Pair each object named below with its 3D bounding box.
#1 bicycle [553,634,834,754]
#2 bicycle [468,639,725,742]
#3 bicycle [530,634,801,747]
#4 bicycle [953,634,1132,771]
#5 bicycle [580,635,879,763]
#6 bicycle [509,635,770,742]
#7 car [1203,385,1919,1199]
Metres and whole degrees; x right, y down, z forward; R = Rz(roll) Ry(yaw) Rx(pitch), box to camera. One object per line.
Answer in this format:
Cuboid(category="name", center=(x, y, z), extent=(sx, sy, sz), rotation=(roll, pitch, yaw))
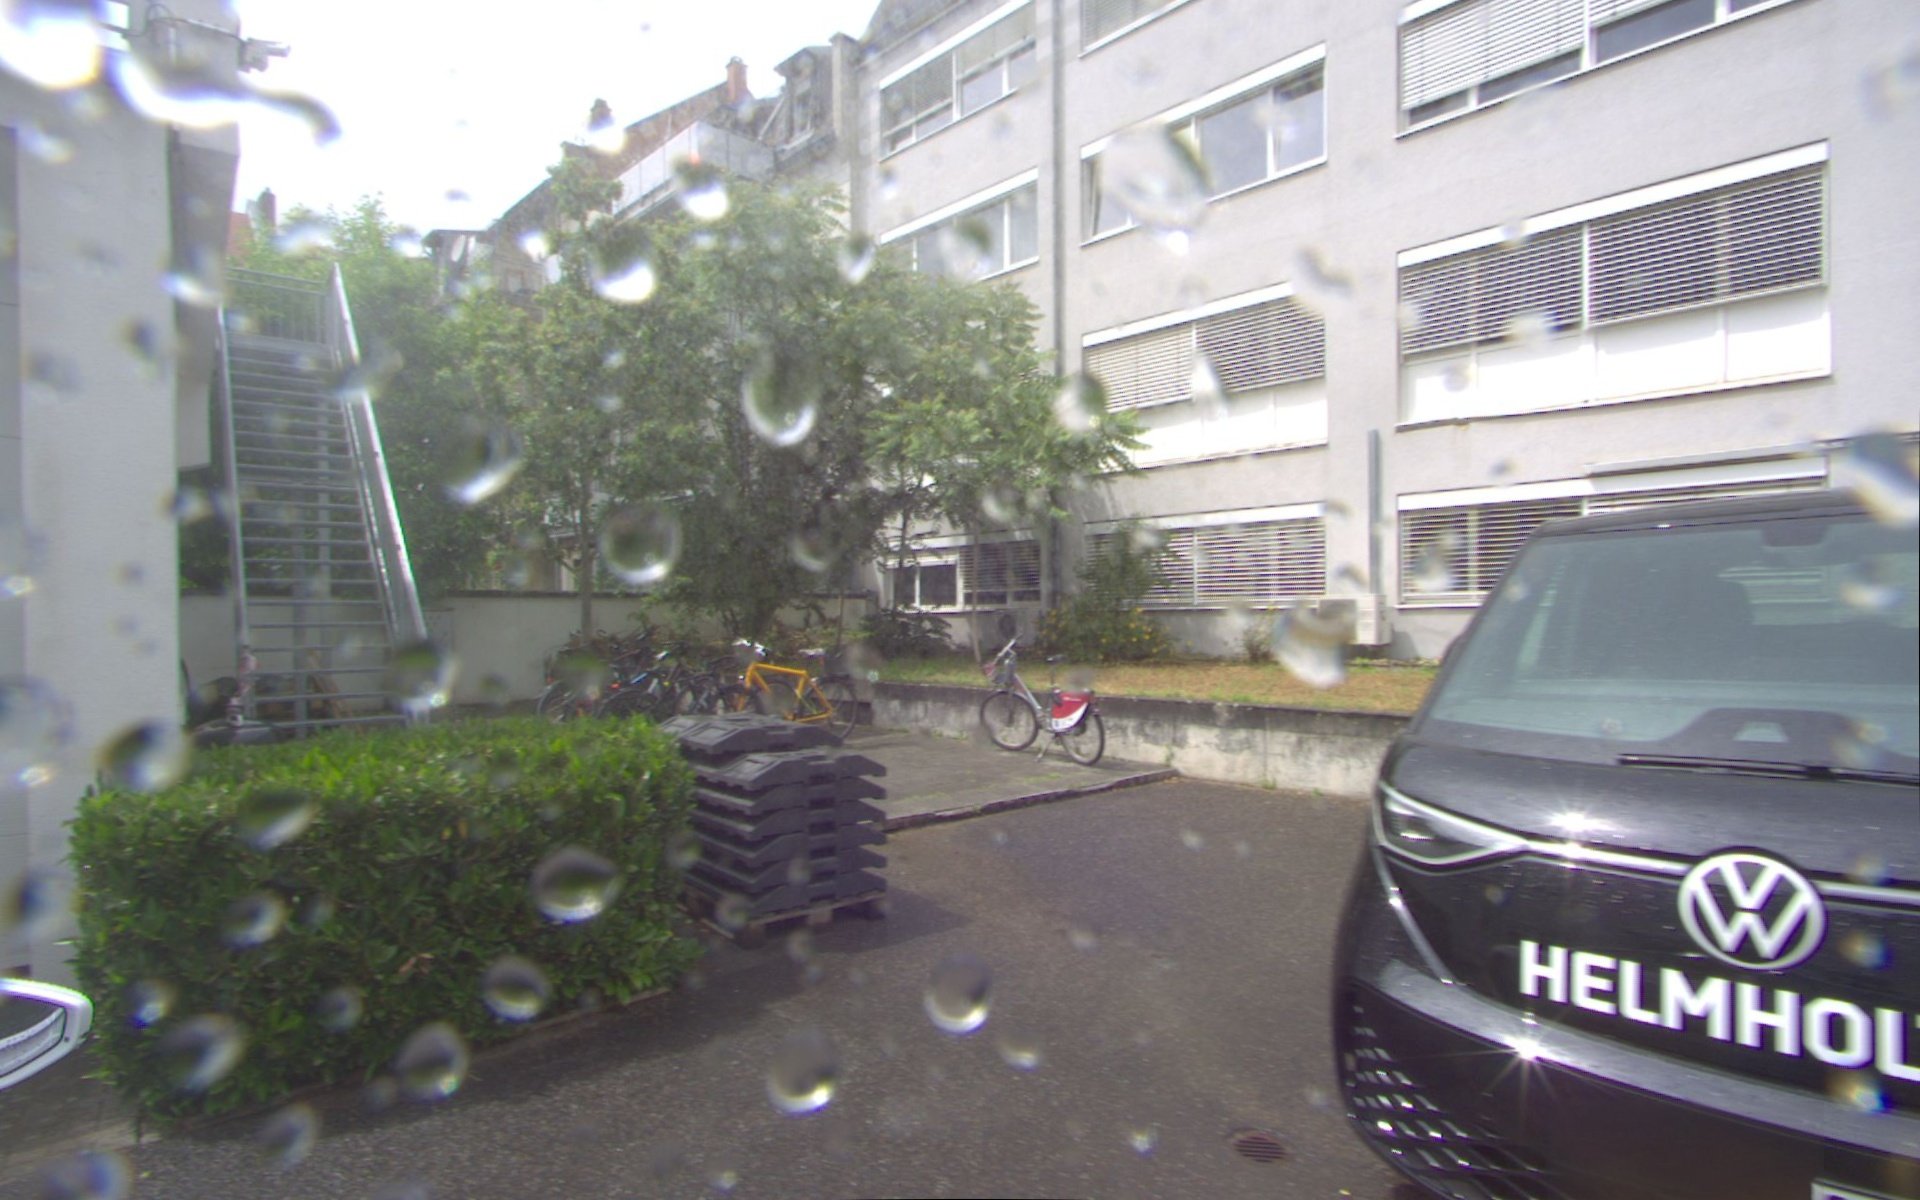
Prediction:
Cuboid(category="bicycle", center=(-2.695, 0.931, 10.490), extent=(2.823, 1.092, 0.683), rotation=(3, -1, -42))
Cuboid(category="bicycle", center=(-4.251, 1.034, 11.953), extent=(2.823, 1.092, 0.683), rotation=(3, -1, -42))
Cuboid(category="bicycle", center=(-3.154, 0.949, 11.041), extent=(2.823, 1.092, 0.683), rotation=(3, -1, -42))
Cuboid(category="bicycle", center=(0.751, 0.922, 9.541), extent=(0.610, 1.174, 1.705), rotation=(0, -1, -45))
Cuboid(category="bicycle", center=(-2.177, 0.918, 9.916), extent=(2.903, 1.092, 0.683), rotation=(3, -1, -42))
Cuboid(category="bicycle", center=(-3.614, 0.975, 11.580), extent=(2.823, 1.092, 0.683), rotation=(3, -1, -42))
Cuboid(category="car", center=(2.970, 0.585, 3.346), extent=(2.089, 1.857, 4.680), rotation=(-1, 0, 45))
